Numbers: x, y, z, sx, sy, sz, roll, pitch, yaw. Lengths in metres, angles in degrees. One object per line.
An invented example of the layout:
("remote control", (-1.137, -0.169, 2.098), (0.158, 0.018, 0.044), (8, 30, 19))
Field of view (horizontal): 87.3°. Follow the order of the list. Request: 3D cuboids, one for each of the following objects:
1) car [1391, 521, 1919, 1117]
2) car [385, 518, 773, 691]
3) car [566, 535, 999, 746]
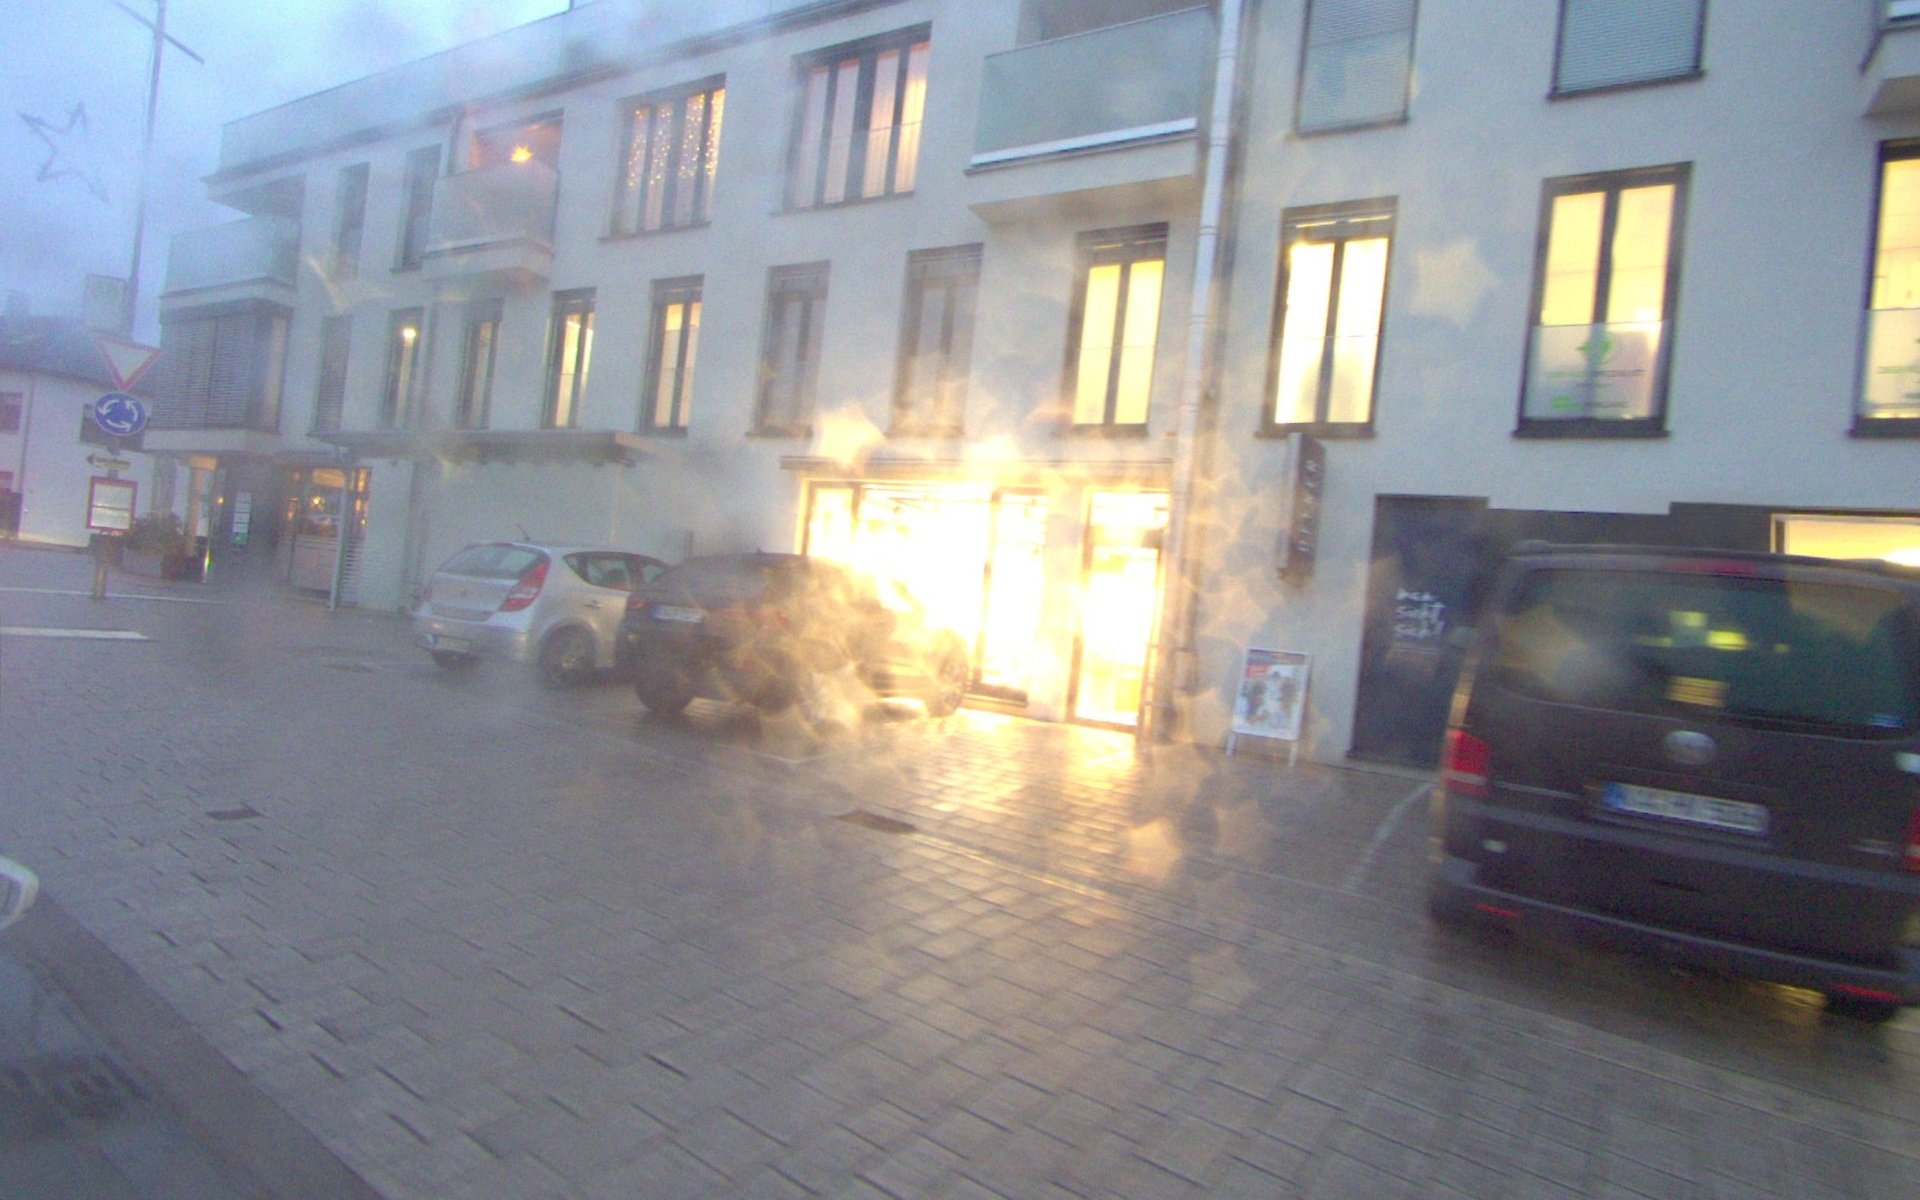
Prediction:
("car", (3.946, 0.758, 5.786), (1.941, 1.961, 4.539), (8, 4, 30))
("car", (-4.062, 0.092, 11.468), (1.781, 1.522, 3.996), (5, 0, 23))
("car", (-1.437, 0.338, 10.072), (1.940, 1.511, 4.515), (5, 1, 25))
